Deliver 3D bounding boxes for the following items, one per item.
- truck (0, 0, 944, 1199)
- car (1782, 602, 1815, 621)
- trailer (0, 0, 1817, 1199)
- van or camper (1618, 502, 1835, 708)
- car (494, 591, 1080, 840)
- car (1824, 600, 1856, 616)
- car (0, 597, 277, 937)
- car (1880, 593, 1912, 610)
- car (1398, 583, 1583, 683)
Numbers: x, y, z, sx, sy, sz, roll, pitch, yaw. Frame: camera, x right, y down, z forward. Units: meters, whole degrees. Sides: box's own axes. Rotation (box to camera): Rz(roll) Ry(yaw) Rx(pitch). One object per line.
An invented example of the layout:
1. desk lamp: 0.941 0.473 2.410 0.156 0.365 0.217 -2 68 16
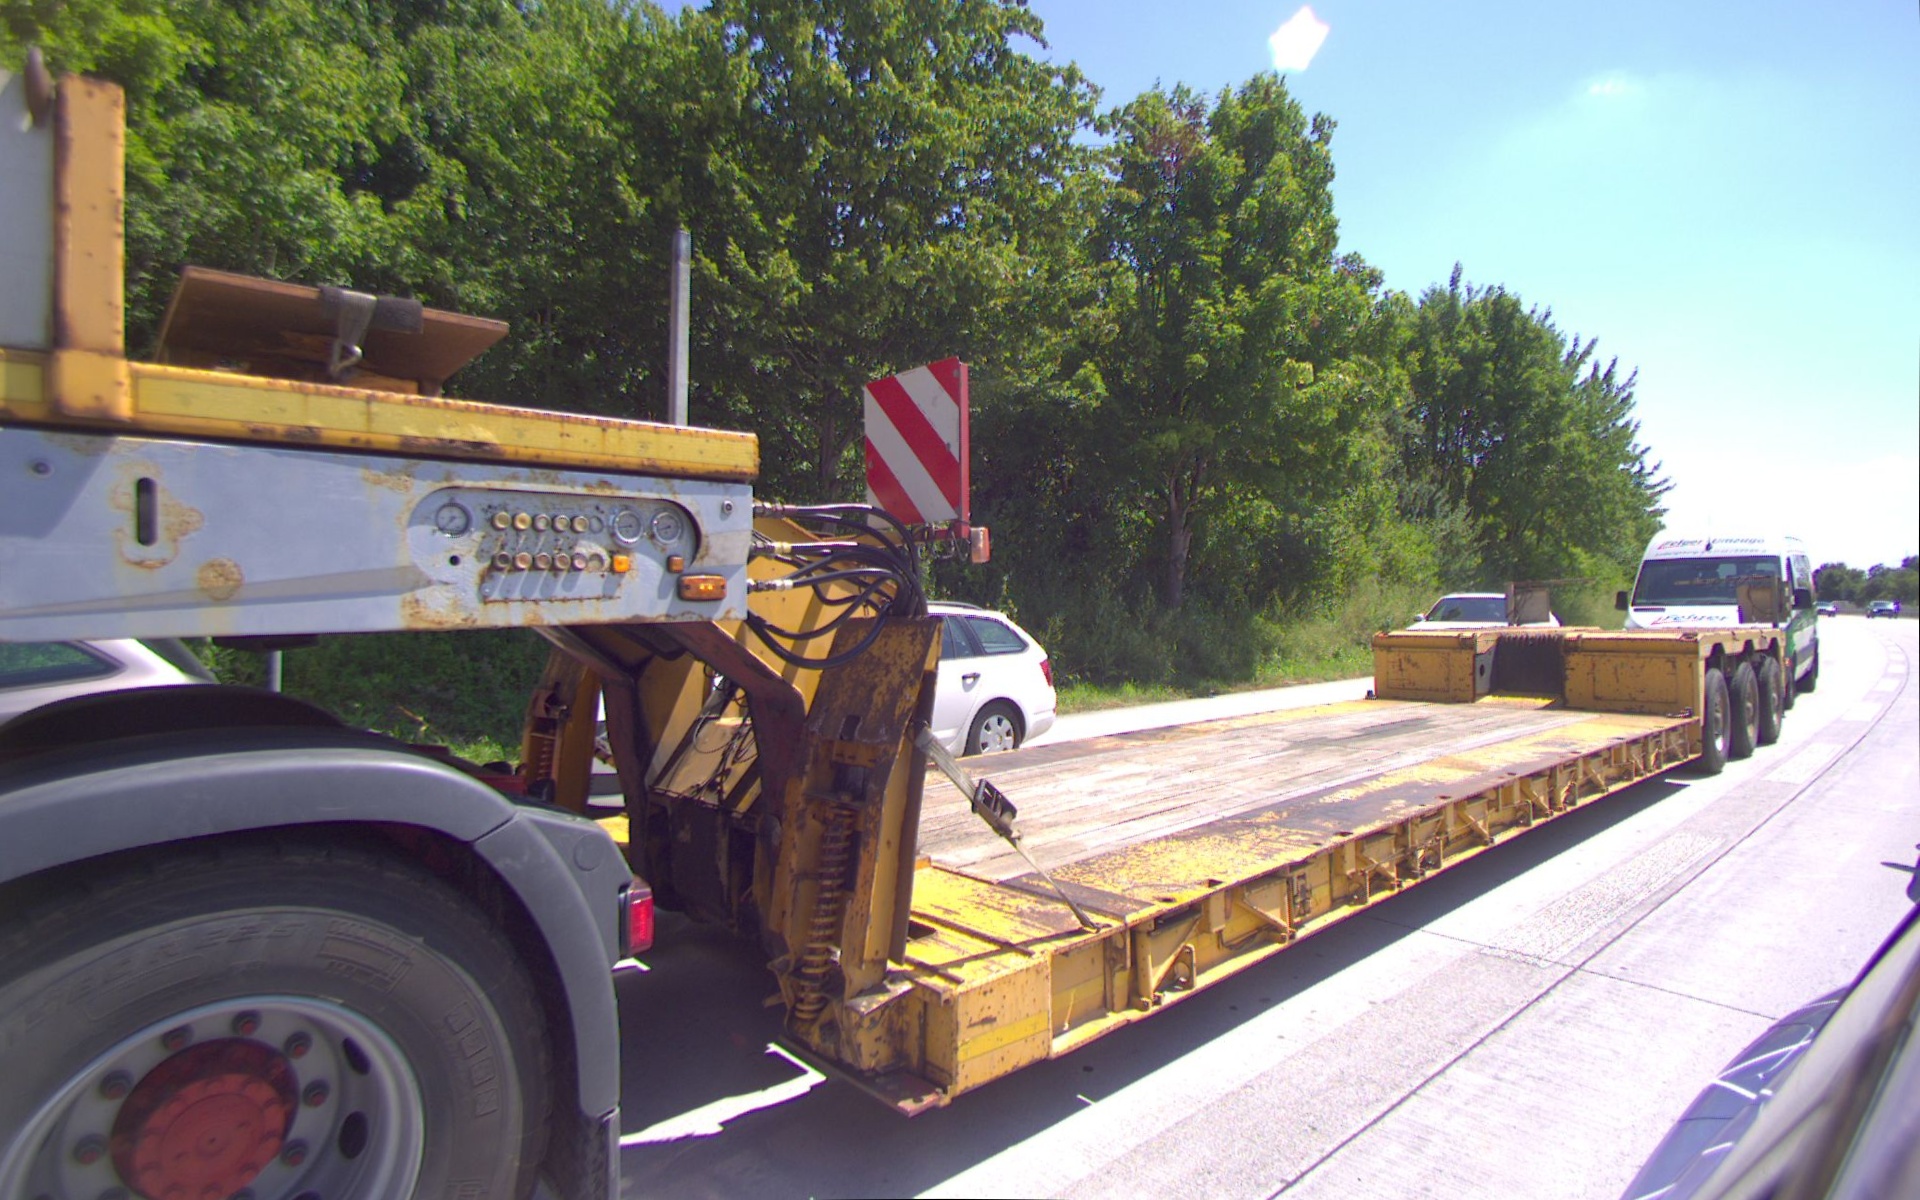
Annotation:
1. truck: -3.757 -0.505 1.088 7.342 3.820 3.017 -1 0 -42
2. car: 76.277 1.021 92.116 1.760 1.581 4.318 0 0 32
3. trailer: 2.128 0.081 6.446 16.076 2.626 3.031 0 0 -42
4. van or camper: 12.029 0.019 15.680 2.063 2.606 5.816 0 1 43
5. car: -1.160 0.676 8.283 4.521 1.480 1.769 -1 1 -43
6. car: 85.321 0.746 98.117 1.879 1.482 3.950 0 1 35
7. car: -5.641 0.756 4.317 4.293 1.480 1.768 -1 1 -45
8. car: 83.914 0.107 90.768 1.697 1.482 3.948 0 1 37
9. car: 9.643 0.498 18.245 1.768 1.581 4.297 0 1 45
